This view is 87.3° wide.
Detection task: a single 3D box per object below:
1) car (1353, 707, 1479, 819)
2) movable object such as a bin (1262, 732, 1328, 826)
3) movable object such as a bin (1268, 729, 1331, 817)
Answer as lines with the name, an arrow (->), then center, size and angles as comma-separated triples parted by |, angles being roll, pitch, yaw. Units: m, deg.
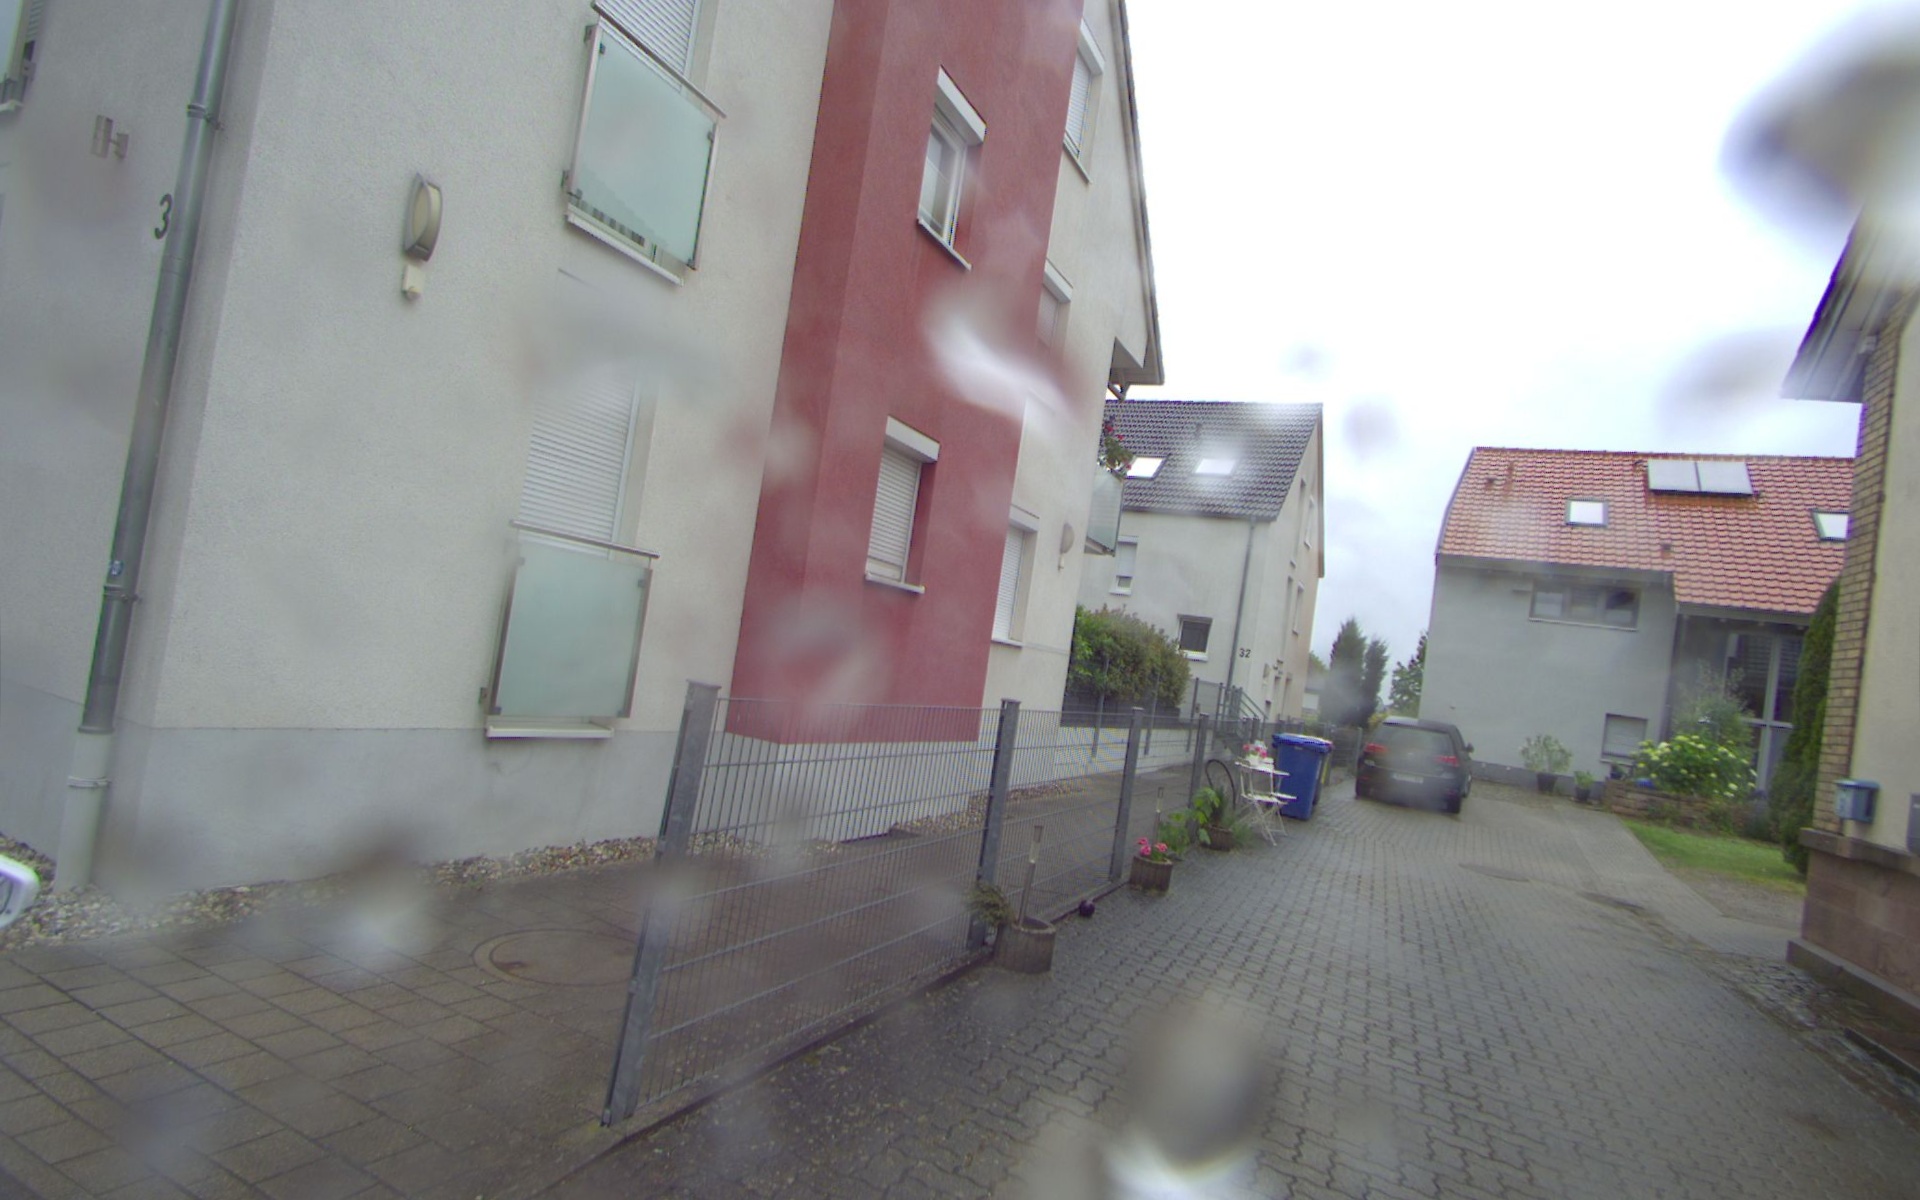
car -> 8.550, 2.905, 18.689 | 1.656, 1.491, 3.993 | 7, 0, 30
movable object such as a bin -> 4.489, 2.376, 13.461 | 0.675, 1.108, 0.536 | 7, -2, 25
movable object such as a bin -> 4.814, 2.431, 14.249 | 0.675, 1.108, 0.536 | 7, -2, 25
